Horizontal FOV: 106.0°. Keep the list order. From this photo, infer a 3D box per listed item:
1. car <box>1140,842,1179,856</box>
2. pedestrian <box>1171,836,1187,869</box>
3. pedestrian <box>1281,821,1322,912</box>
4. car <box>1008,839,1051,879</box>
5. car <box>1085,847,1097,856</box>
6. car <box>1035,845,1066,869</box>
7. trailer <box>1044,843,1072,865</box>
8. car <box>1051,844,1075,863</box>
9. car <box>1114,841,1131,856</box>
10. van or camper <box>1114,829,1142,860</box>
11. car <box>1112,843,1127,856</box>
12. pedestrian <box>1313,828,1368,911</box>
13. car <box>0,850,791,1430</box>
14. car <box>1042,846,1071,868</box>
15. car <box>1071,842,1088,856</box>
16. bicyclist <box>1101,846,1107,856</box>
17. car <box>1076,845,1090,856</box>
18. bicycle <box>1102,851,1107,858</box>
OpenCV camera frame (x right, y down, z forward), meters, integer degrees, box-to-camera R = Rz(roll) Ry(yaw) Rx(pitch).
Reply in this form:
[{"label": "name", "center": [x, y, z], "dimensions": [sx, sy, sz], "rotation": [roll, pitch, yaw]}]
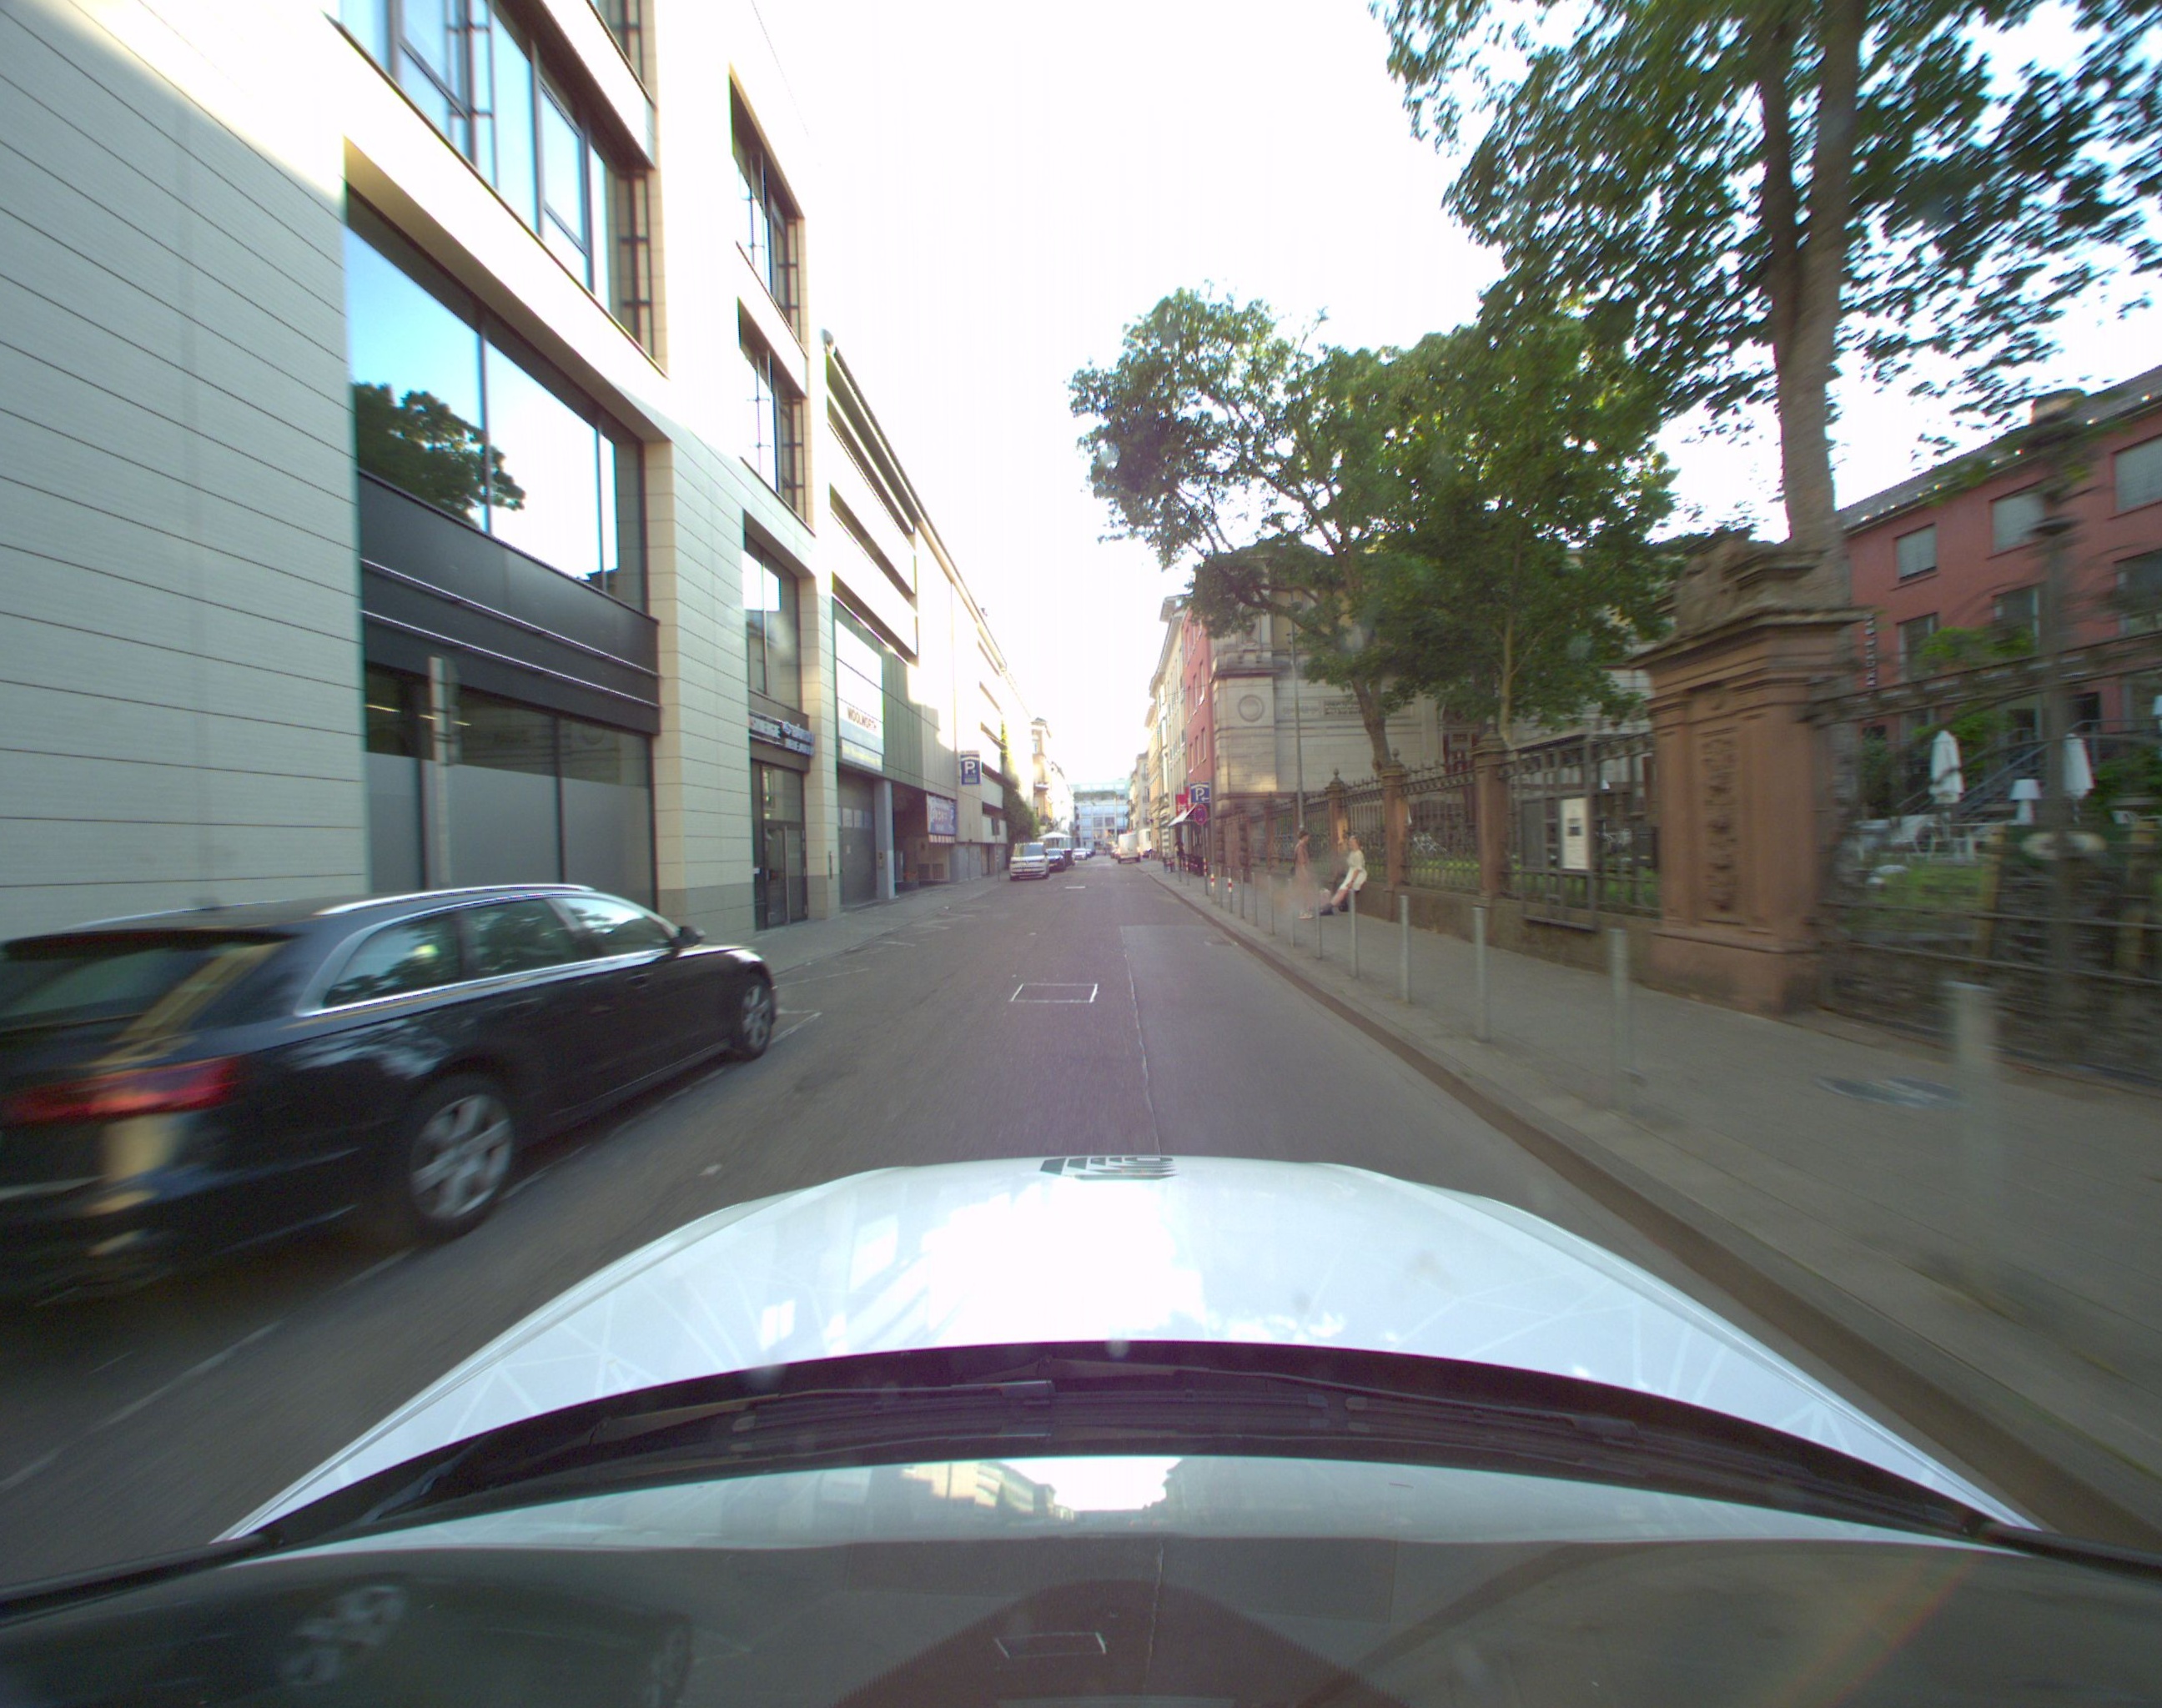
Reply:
[{"label": "car", "center": [8.356, -0.522, 86.776], "dimensions": [3.972, 1.420, 1.657], "rotation": [-2, 0, 1]}, {"label": "pedestrian", "center": [5.180, -0.079, 43.002], "dimensions": [0.659, 1.666, 0.624], "rotation": [-4, 0, 1]}, {"label": "pedestrian", "center": [4.138, 0.231, 15.320], "dimensions": [0.483, 1.658, 0.617], "rotation": [-4, 1, -6]}, {"label": "car", "center": [-2.648, 0.209, 42.947], "dimensions": [1.877, 1.912, 4.747], "rotation": [-2, 1, 0]}, {"label": "car", "center": [1.918, -0.542, 155.083], "dimensions": [1.986, 1.684, 4.002], "rotation": [-2, 0, 2]}, {"label": "car", "center": [-1.991, 0.188, 54.250], "dimensions": [1.877, 1.453, 4.000], "rotation": [-2, 1, 0]}, {"label": "trailer", "center": [-1.753, -0.006, 63.409], "dimensions": [1.987, 1.557, 4.000], "rotation": [-2, 0, 0]}, {"label": "car", "center": [-1.474, -0.041, 67.856], "dimensions": [1.877, 1.453, 4.000], "rotation": [-2, 1, 0]}, {"label": "car", "center": [5.111, -0.656, 100.816], "dimensions": [1.986, 1.684, 4.002], "rotation": [-2, 0, 2]}, {"label": "van or camper", "center": [4.349, -0.834, 76.244], "dimensions": [2.249, 2.607, 5.114], "rotation": [-6, 0, 2]}, {"label": "car", "center": [5.263, -0.654, 112.664], "dimensions": [1.986, 1.684, 4.002], "rotation": [-2, 0, 2]}, {"label": "pedestrian", "center": [4.900, 0.289, 15.420], "dimensions": [0.748, 1.499, 0.618], "rotation": [-4, 1, -4]}, {"label": "car", "center": [-3.487, 0.822, 4.648], "dimensions": [1.877, 1.598, 4.690], "rotation": [-2, 1, 1]}, {"label": "car", "center": [-1.740, 0.174, 59.116], "dimensions": [1.877, 1.453, 4.000], "rotation": [-2, 1, 0]}, {"label": "car", "center": [-0.171, -0.601, 102.316], "dimensions": [1.986, 1.684, 4.002], "rotation": [-2, 0, 2]}, {"label": "bicyclist", "center": [4.402, -0.544, 154.485], "dimensions": [0.986, 1.868, 0.708], "rotation": [-2, 0, 1]}, {"label": "car", "center": [0.378, -0.516, 125.369], "dimensions": [1.986, 1.684, 4.002], "rotation": [-2, 0, 2]}, {"label": "bicycle", "center": [4.494, 0.062, 154.617], "dimensions": [0.971, 1.280, 2.755], "rotation": [-2, 0, 2]}]
